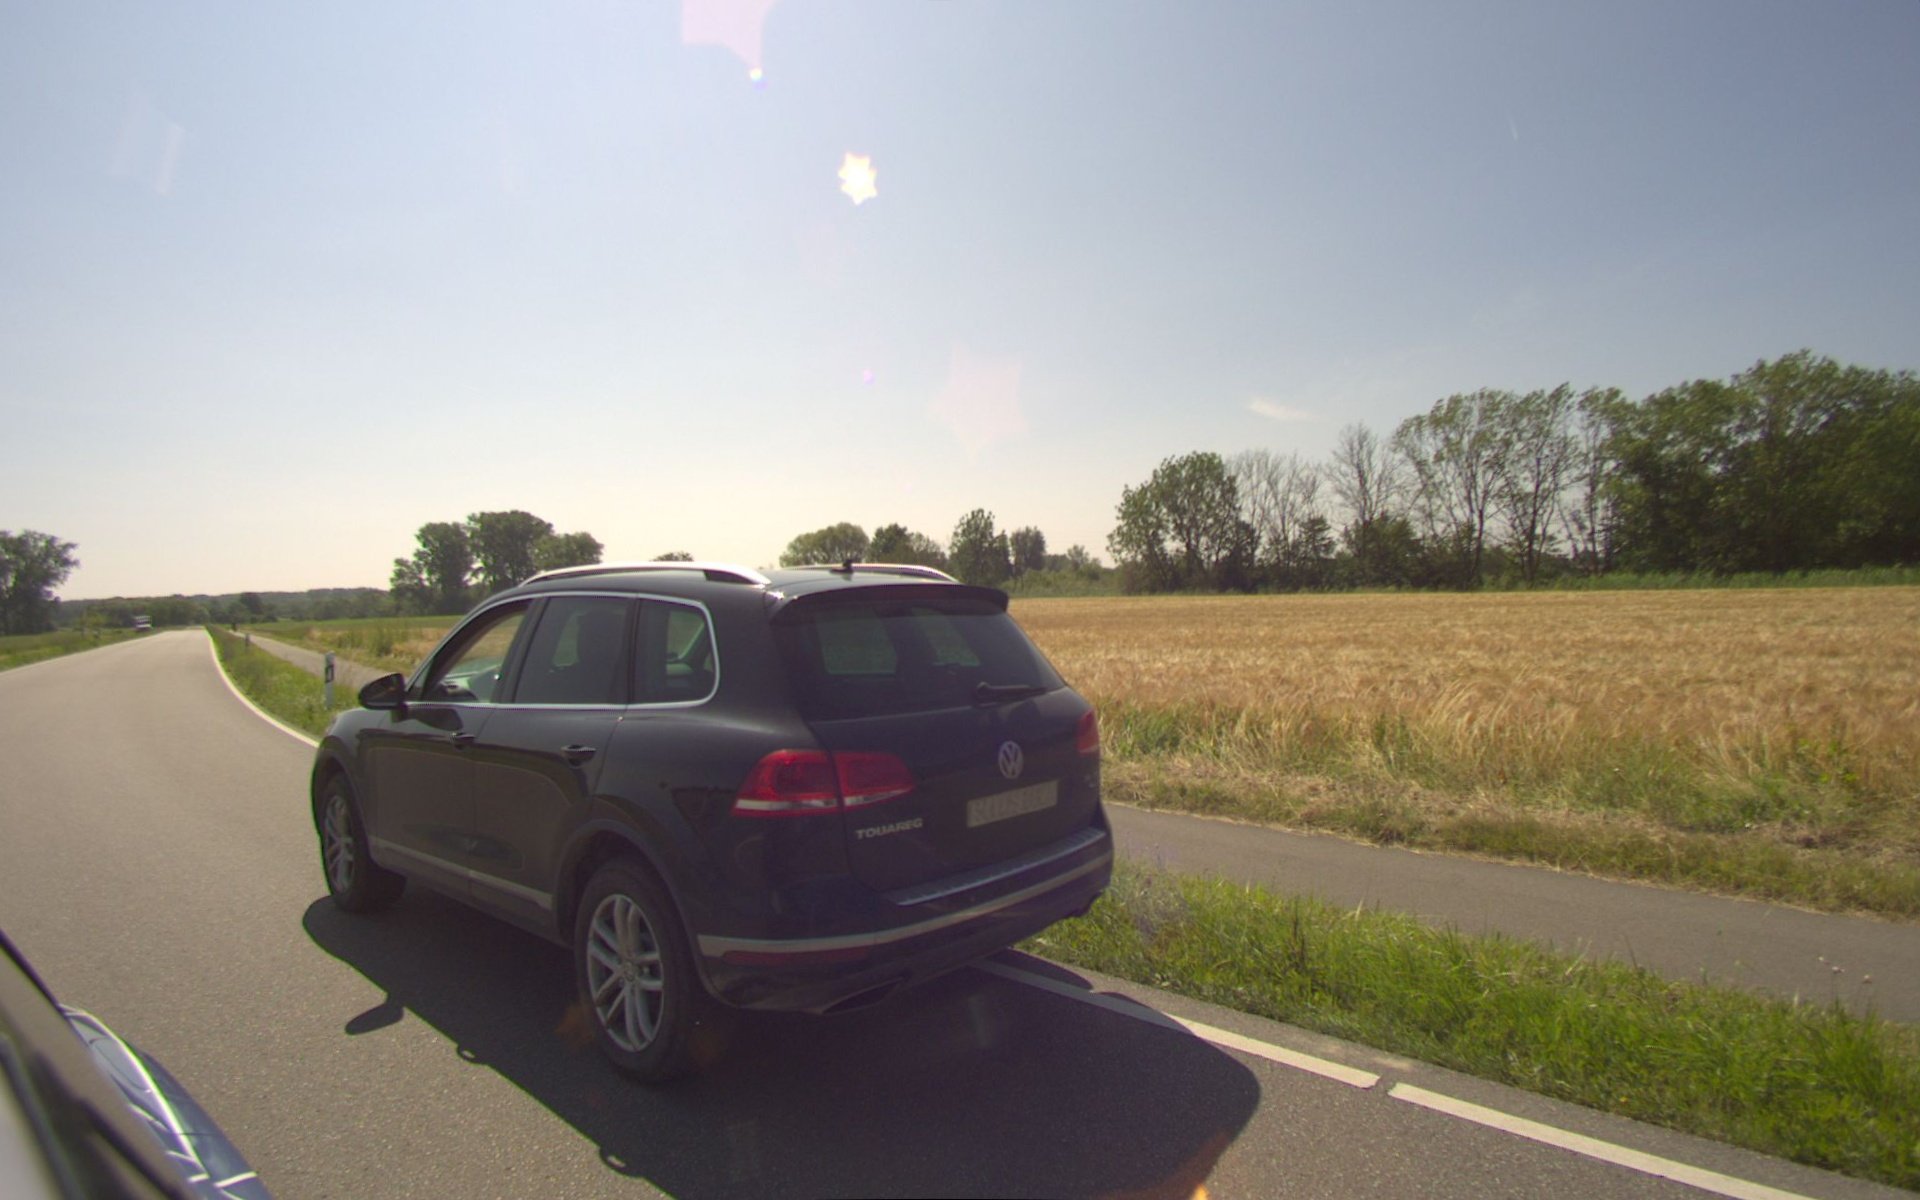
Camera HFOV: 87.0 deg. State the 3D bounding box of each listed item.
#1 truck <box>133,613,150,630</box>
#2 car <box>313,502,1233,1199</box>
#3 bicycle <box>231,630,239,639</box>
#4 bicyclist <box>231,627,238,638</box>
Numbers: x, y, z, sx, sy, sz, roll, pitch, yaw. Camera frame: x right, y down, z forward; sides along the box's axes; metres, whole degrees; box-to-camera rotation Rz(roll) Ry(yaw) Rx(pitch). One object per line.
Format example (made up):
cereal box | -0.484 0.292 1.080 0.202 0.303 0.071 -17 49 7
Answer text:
truck | -140.716 3.708 174.032 1.967 2.859 5.229 -2 0 -37
car | -1.103 0.678 4.440 4.012 1.728 1.867 -2 -1 41
bicycle | -99.682 4.796 139.135 0.731 1.180 2.087 -2 0 -37
bicyclist | -99.703 4.505 139.131 0.731 1.507 1.005 -2 0 -37
